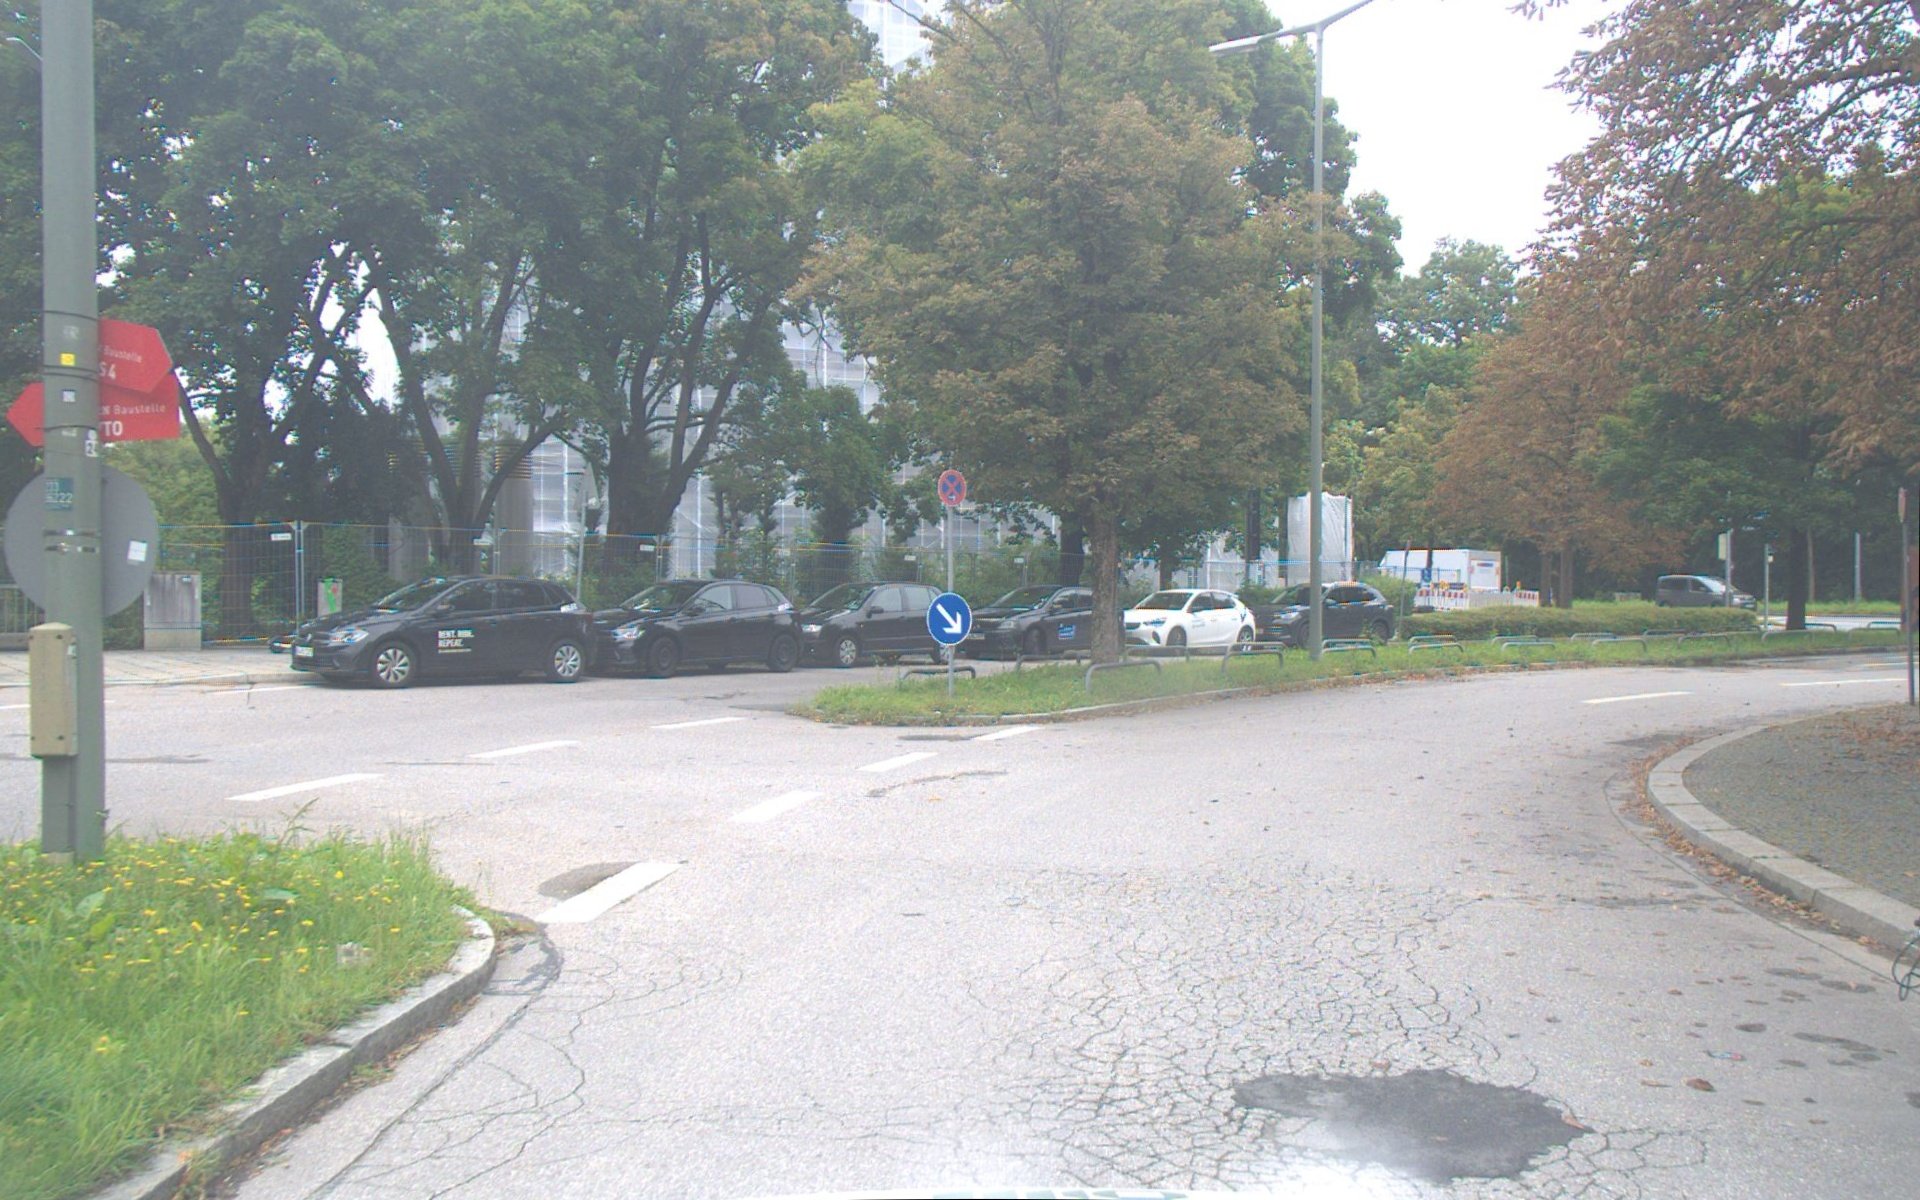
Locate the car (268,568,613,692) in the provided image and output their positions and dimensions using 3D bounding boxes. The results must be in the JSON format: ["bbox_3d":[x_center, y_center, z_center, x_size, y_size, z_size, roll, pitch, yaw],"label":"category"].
[{"bbox_3d":[-6.922,0.349,22.320,1.964,1.457,4.019,3,2,41],"label":"car"}]

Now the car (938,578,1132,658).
[{"bbox_3d":[1.540,0.331,32.922,1.807,1.486,3.983,0,0,41],"label":"car"}]

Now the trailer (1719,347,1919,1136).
[{"bbox_3d":[3.288,0.368,3.223,1.770,2.049,4.837,0,0,5],"label":"trailer"}]

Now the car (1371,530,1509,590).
[{"bbox_3d":[29.097,-2.358,100.724,3.048,3.509,8.643,0,0,-27],"label":"car"}]

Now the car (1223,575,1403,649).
[{"bbox_3d":[8.449,0.306,39.408,4.351,1.634,1.866,2,-1,-38],"label":"car"}]

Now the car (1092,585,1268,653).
[{"bbox_3d":[4.899,0.392,36.431,1.771,1.408,4.190,0,0,43],"label":"car"}]

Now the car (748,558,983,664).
[{"bbox_3d":[-1.606,0.184,29.172,1.964,1.736,3.977,0,0,41],"label":"car"}]

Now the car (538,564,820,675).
[{"bbox_3d":[-4.252,0.263,25.457,1.964,1.568,3.977,0,0,41],"label":"car"}]
